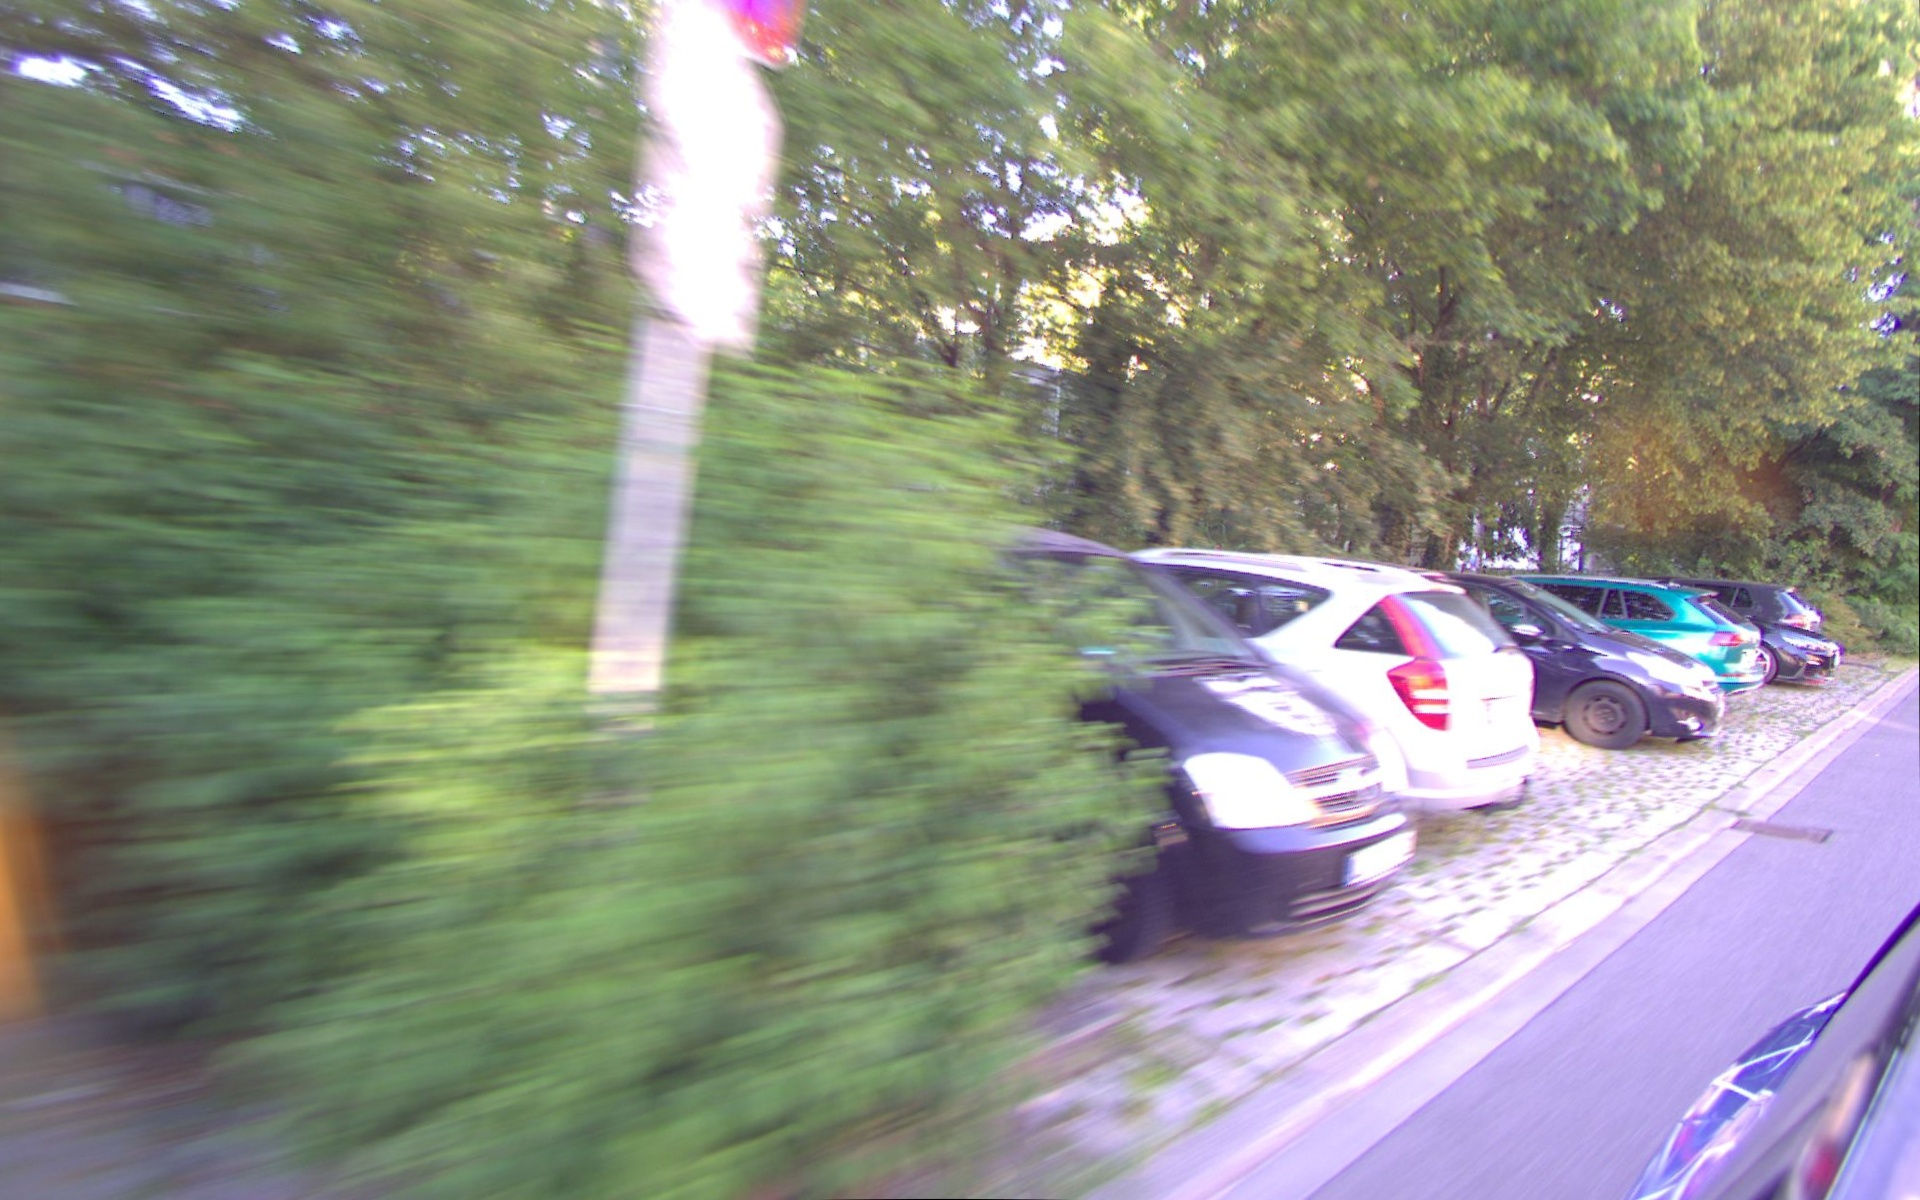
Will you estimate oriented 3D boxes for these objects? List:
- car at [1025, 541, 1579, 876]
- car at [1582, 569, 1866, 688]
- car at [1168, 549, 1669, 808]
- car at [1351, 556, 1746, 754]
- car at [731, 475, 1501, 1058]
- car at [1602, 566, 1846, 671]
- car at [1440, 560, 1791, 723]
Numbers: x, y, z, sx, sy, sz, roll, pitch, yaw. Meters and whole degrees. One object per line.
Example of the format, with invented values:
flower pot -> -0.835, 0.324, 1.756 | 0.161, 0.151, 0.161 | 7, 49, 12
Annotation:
car -> 1.990, 0.451, 6.410 | 1.593, 1.547, 2.869 | 0, 3, -39
car -> 11.411, 0.352, 15.248 | 1.502, 1.478, 3.117 | 0, 3, -41
car -> 3.476, 0.428, 8.064 | 1.594, 1.547, 3.223 | 0, 3, -41
car -> 5.740, 0.401, 10.017 | 3.107, 1.547, 1.599 | 4, 3, 40
car -> 0.470, 0.401, 4.789 | 1.650, 1.745, 3.263 | 0, 3, -41
car -> 13.125, 0.256, 17.521 | 1.500, 1.546, 2.990 | 1, 3, -34
car -> 7.560, 0.372, 11.853 | 1.503, 1.547, 3.116 | 0, 3, -41
